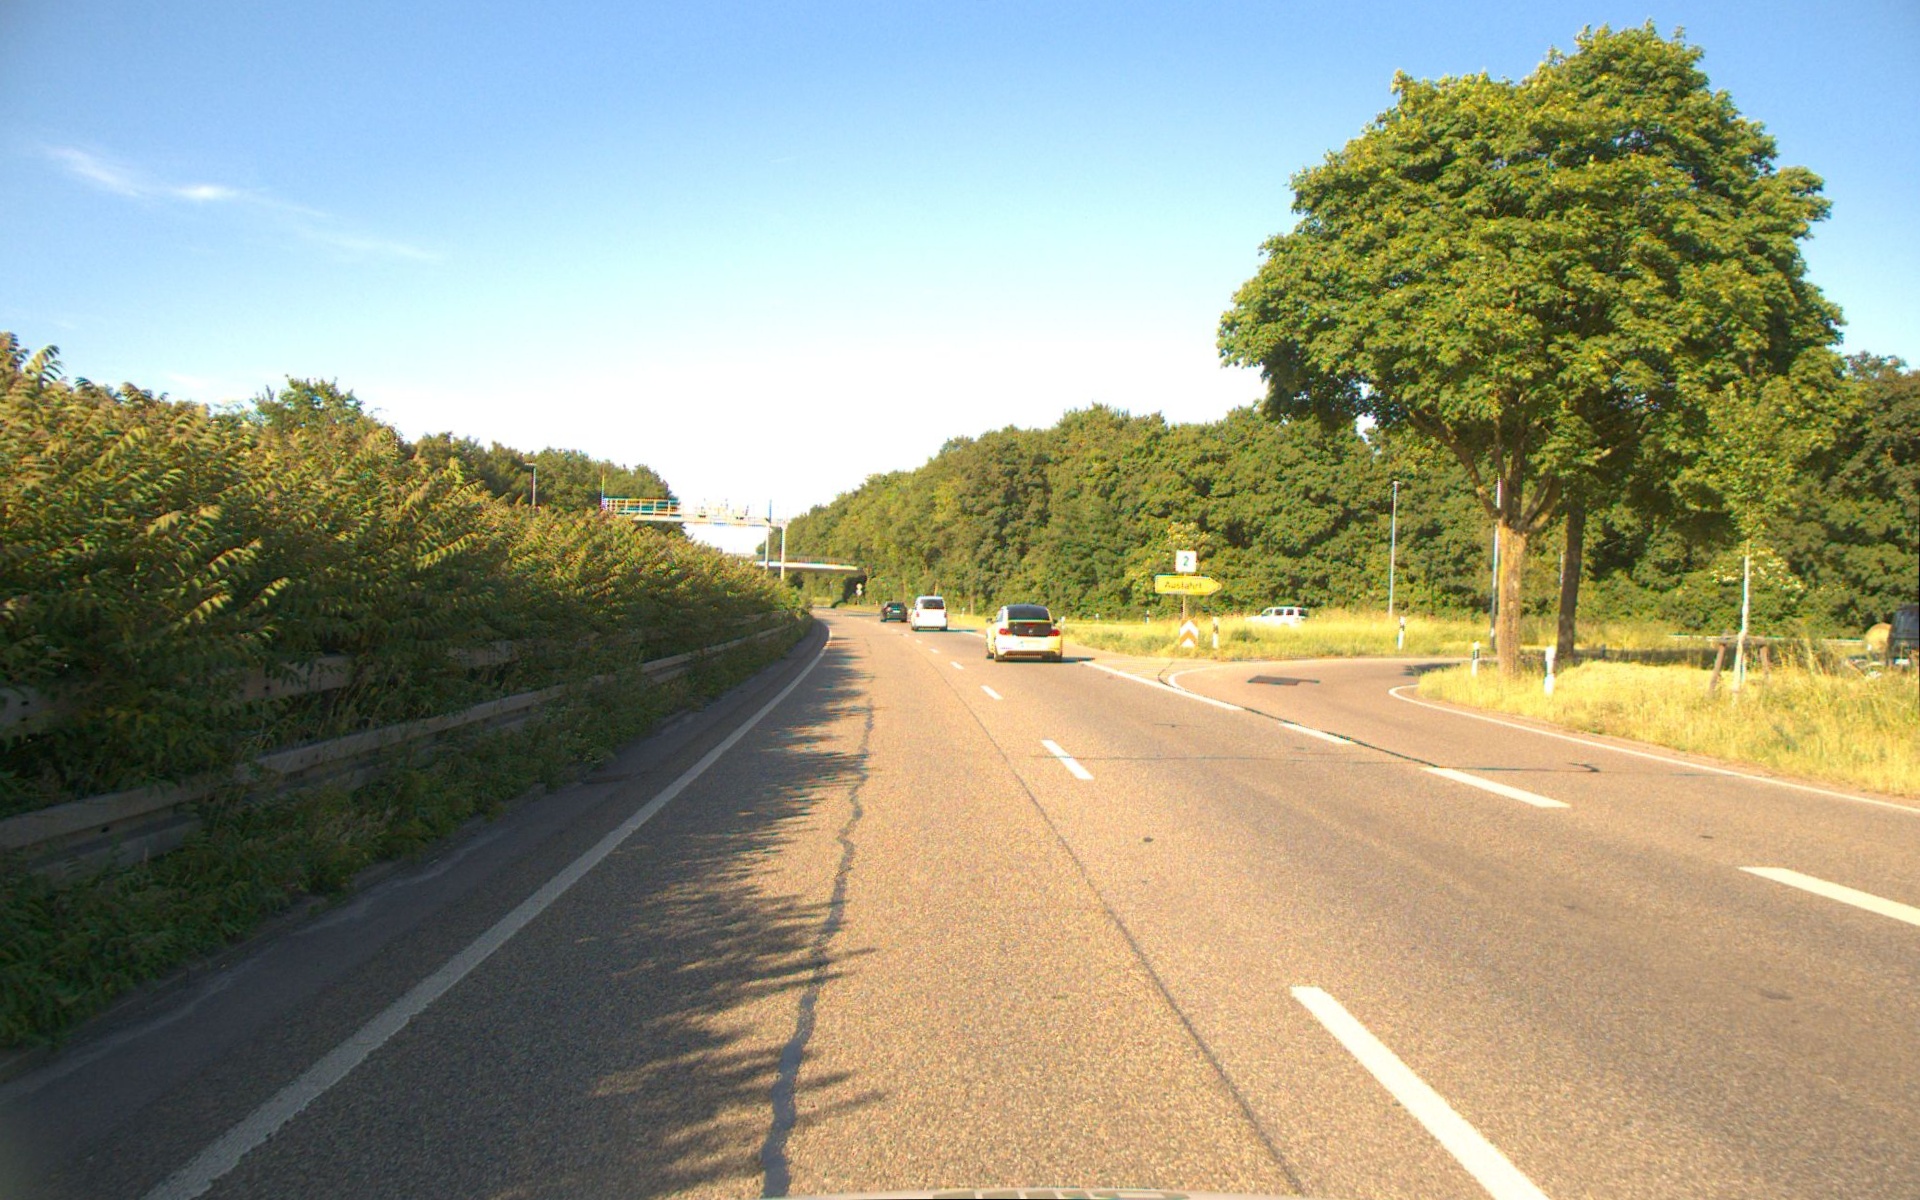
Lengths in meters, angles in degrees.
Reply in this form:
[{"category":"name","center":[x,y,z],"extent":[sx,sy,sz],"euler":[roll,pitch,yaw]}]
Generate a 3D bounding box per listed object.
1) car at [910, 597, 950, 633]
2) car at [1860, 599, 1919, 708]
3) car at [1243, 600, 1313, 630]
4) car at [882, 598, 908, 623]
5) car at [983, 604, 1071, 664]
[{"category":"car","center":[-1.596,0.760,86.951],"extent":[1.860,1.798,3.996],"euler":[2,0,-4]},{"category":"car","center":[21.679,1.276,34.175],"extent":[4.928,2.173,2.094],"euler":[4,-1,4]},{"category":"car","center":[20.003,0.932,104.160],"extent":[3.933,1.856,1.890],"euler":[1,0,44]},{"category":"car","center":[-4.706,0.749,119.866],"extent":[1.859,1.798,3.998],"euler":[1,0,-3]},{"category":"car","center":[1.736,0.877,44.077],"extent":[1.860,1.496,3.996],"euler":[1,0,-5]}]
